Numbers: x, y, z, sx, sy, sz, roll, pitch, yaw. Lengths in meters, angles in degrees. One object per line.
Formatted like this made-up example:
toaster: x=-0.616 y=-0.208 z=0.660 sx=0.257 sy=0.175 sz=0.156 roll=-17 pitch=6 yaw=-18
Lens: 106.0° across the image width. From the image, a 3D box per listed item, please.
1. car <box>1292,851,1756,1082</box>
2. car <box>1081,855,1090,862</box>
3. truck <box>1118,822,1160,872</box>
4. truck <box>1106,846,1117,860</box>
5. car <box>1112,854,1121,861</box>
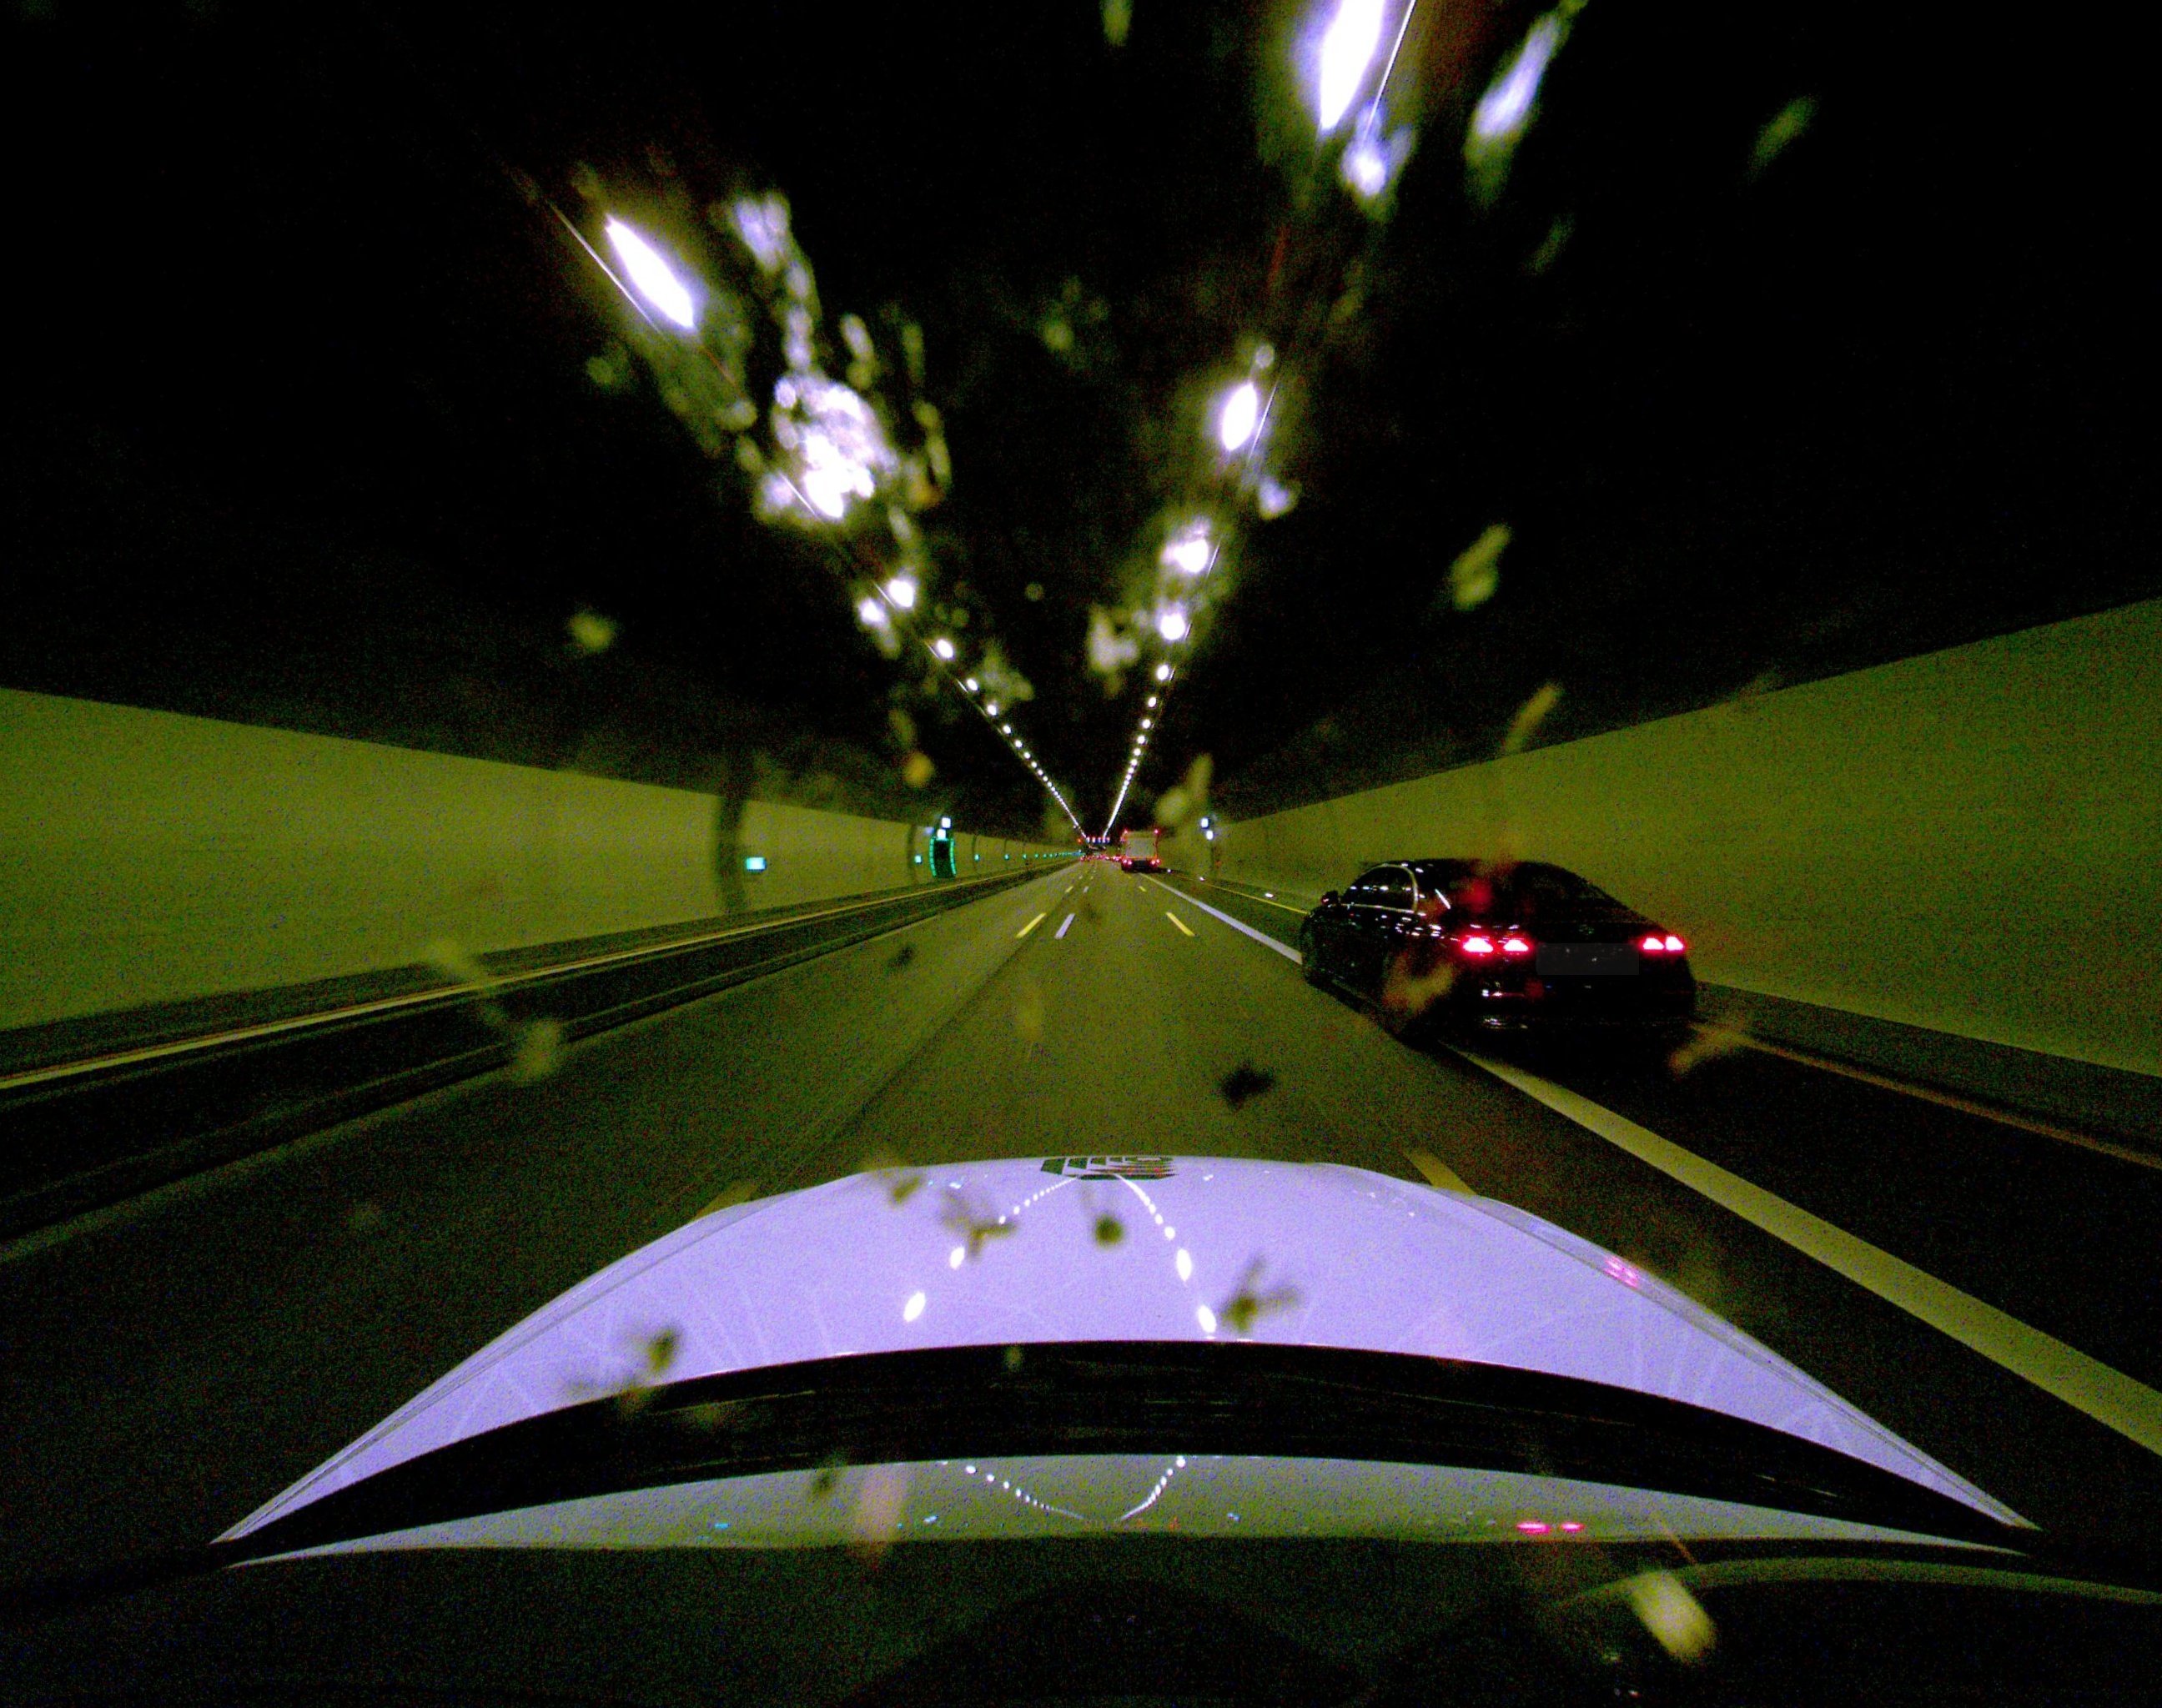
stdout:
car: x=3.482 y=0.732 z=7.724 sx=1.918 sy=1.472 sz=4.958 roll=0 pitch=0 yaw=3
car: x=0.924 y=0.881 z=162.627 sx=1.752 sy=1.461 sz=4.120 roll=0 pitch=0 yaw=2
truck: x=4.889 y=-0.482 z=70.372 sx=3.080 sy=3.918 sz=10.370 roll=1 pitch=-1 yaw=2
truck: x=9.024 y=-0.187 z=237.840 sx=3.054 sy=3.918 sz=10.374 roll=1 pitch=-1 yaw=3
car: x=6.931 y=0.674 z=158.704 sx=1.732 sy=1.461 sz=3.963 roll=0 pitch=0 yaw=3
